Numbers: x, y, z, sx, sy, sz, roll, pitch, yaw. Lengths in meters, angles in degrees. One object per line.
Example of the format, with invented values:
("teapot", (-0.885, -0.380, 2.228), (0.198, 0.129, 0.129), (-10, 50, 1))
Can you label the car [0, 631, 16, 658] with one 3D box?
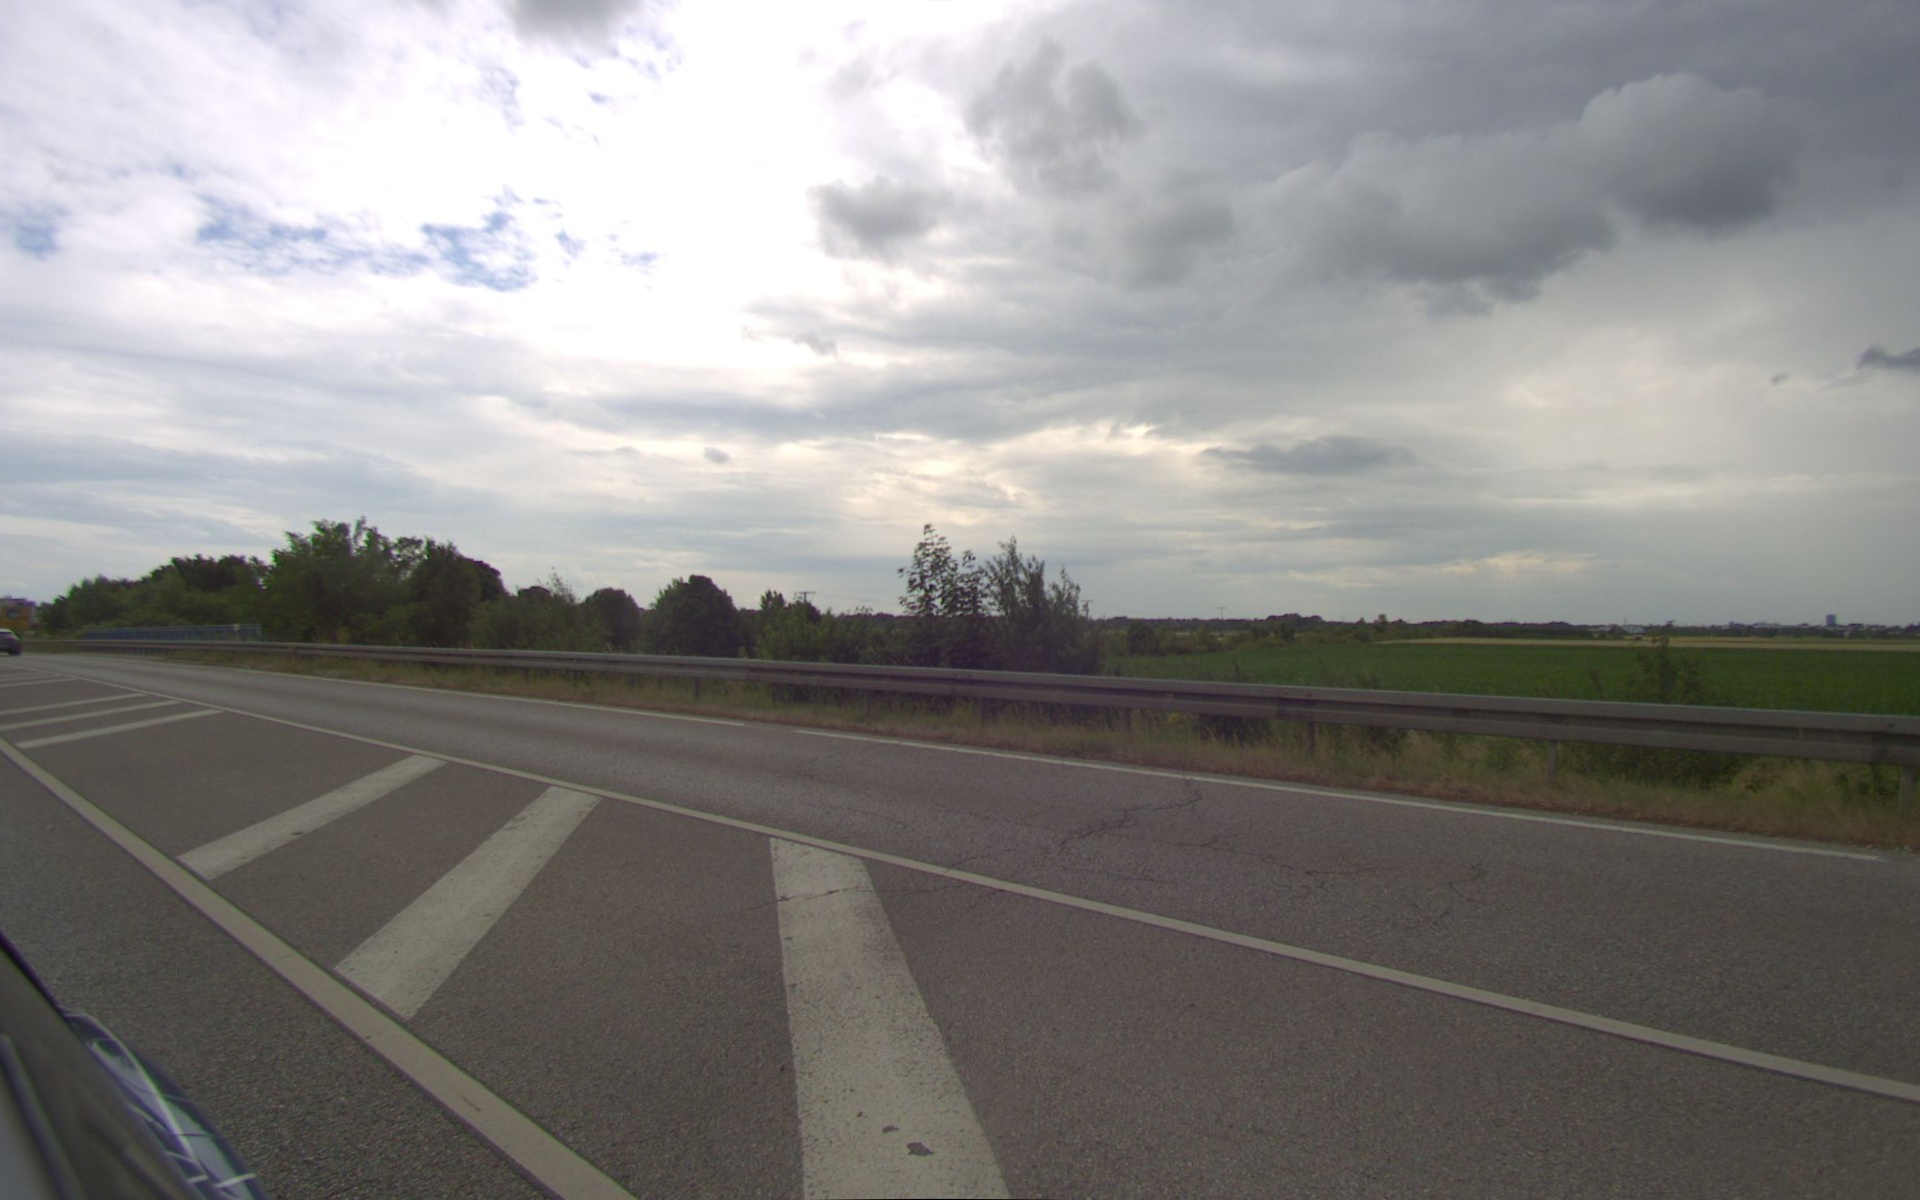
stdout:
("car", (-52.542, 2.419, 54.865), (4.510, 1.390, 1.605), (-1, -1, 42))
